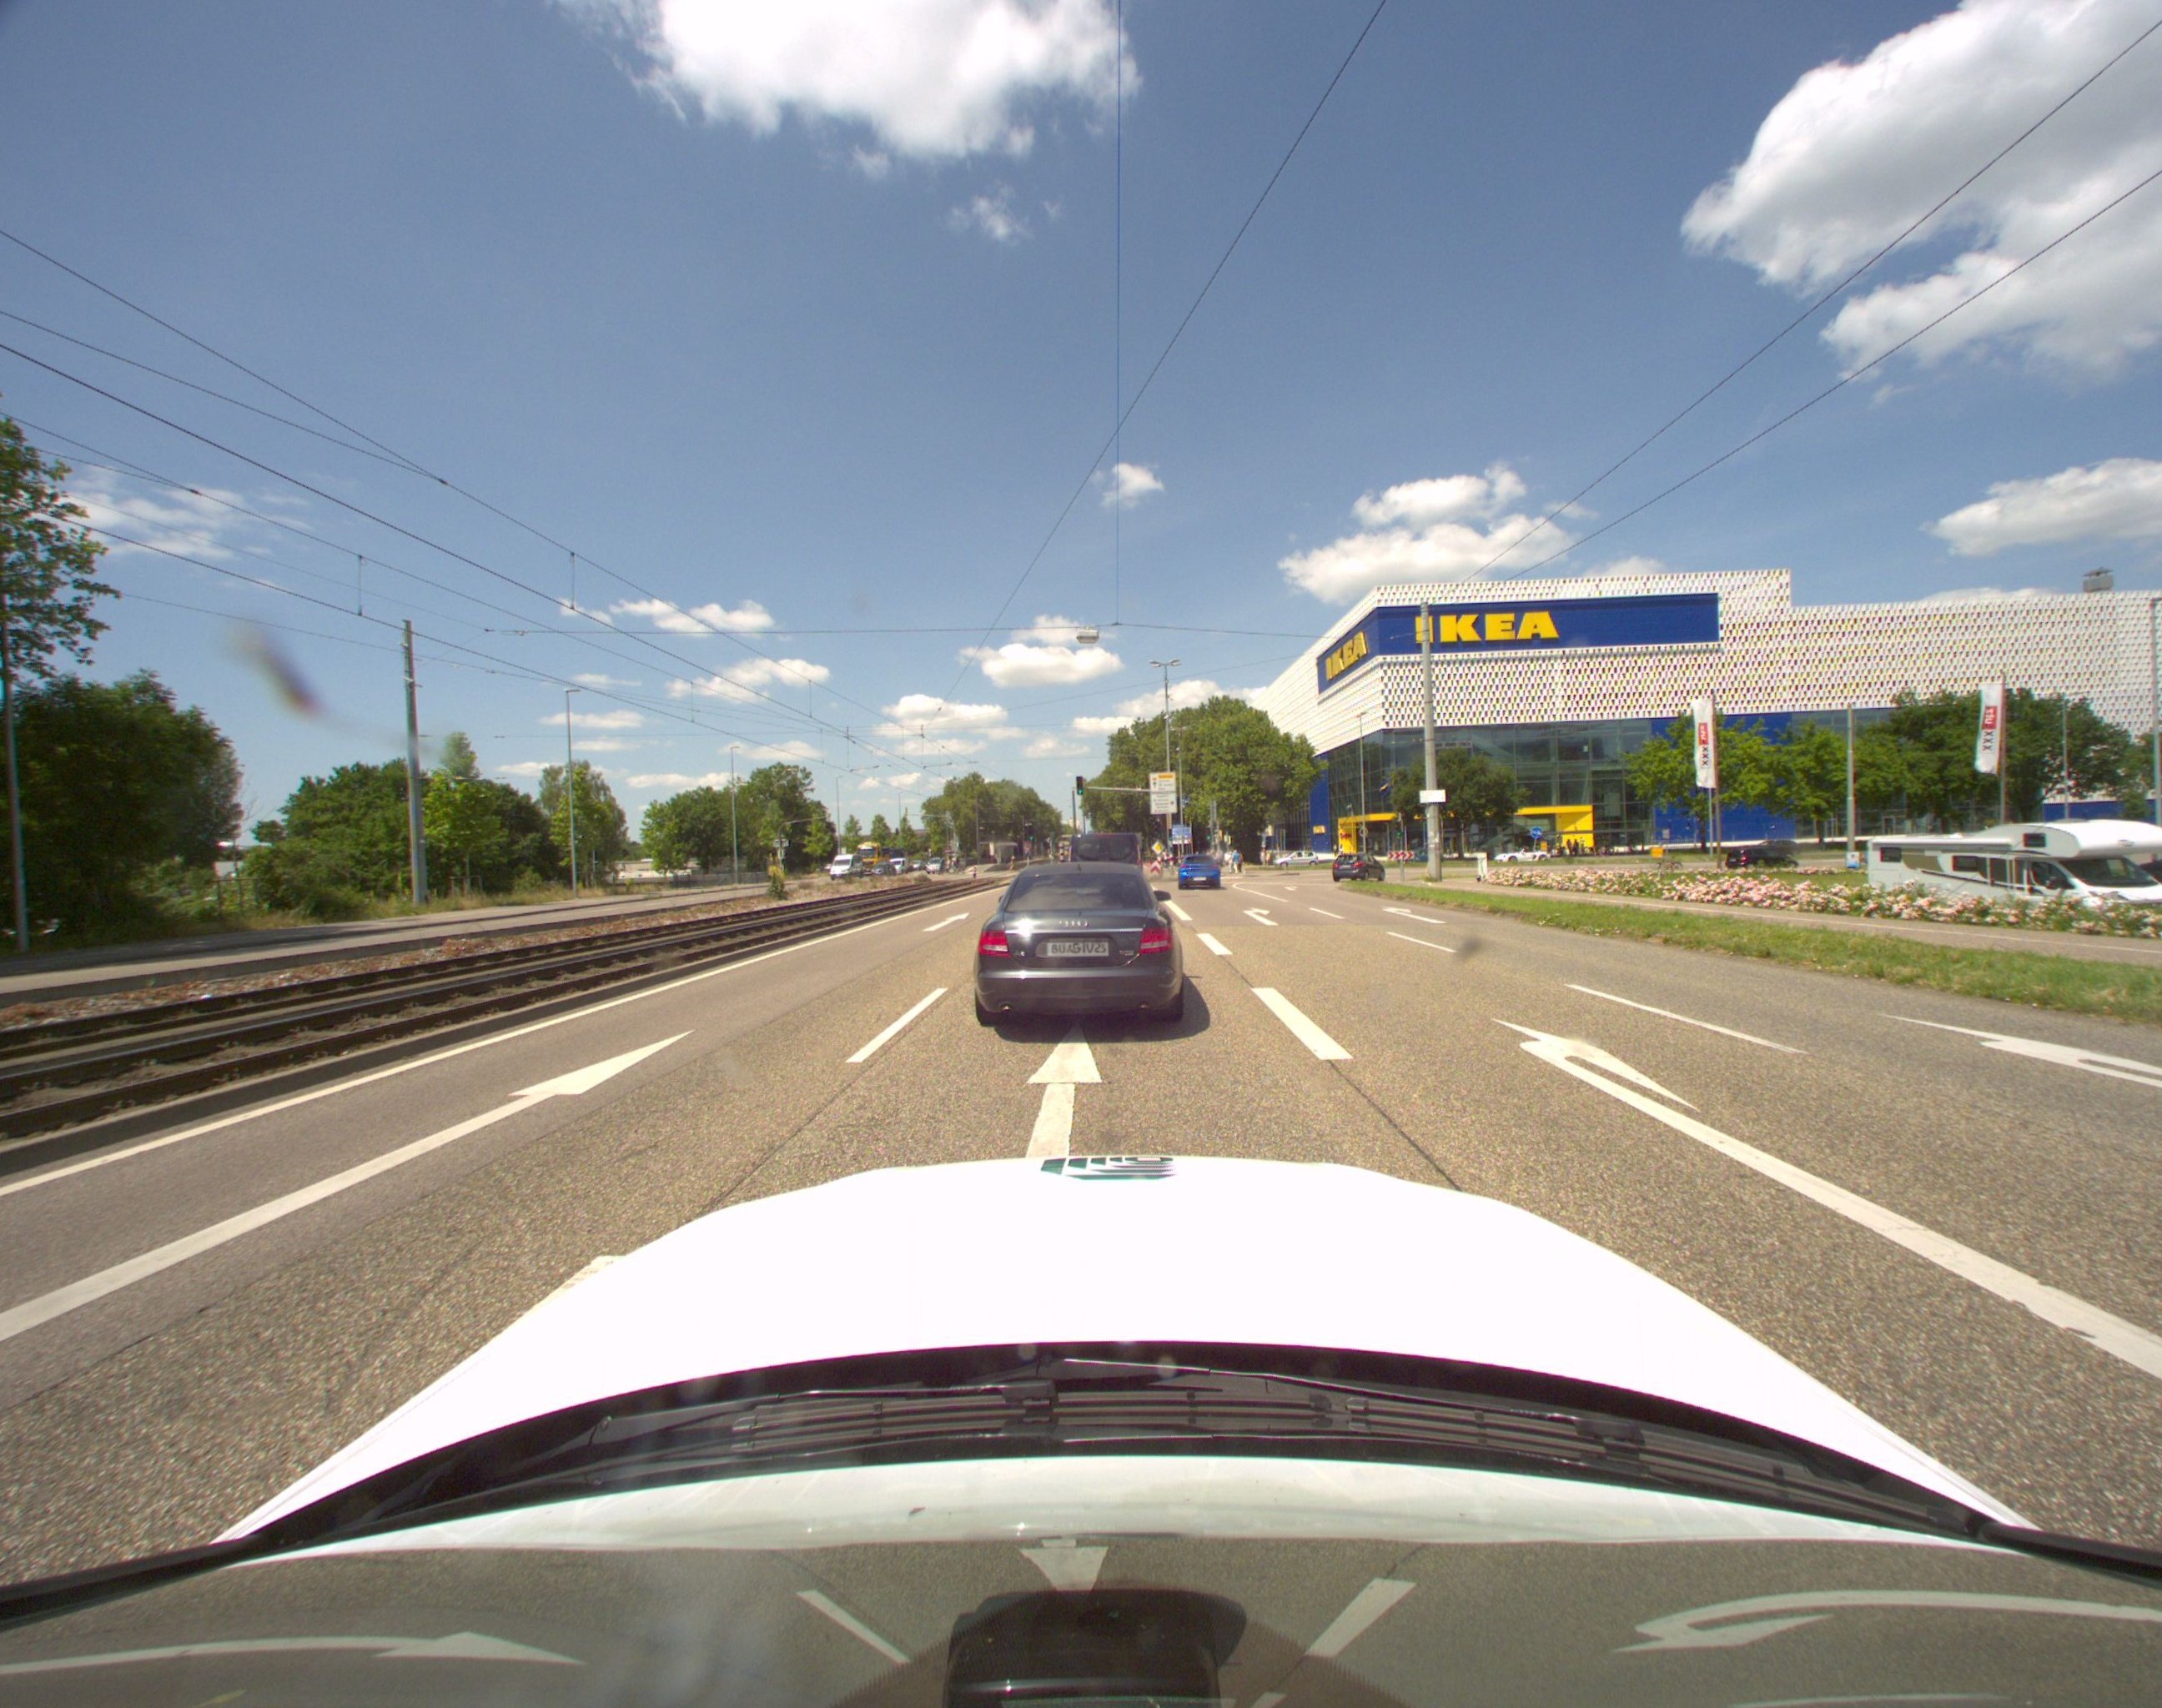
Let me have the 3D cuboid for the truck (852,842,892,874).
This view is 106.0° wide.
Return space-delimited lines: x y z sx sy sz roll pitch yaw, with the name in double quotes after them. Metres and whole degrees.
-24.219 0.460 94.694 2.757 3.569 6.442 -1 0 2 "truck"

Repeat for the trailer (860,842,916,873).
-23.981 0.435 102.407 2.757 3.518 15.884 -1 0 2 "trailer"

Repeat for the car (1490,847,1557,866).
36.503 0.205 67.284 4.475 1.486 2.003 0 0 5 "car"

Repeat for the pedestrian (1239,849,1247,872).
12.145 0.470 61.032 0.518 1.670 0.495 -1 0 5 "pedestrian"

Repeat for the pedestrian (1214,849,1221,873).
9.305 0.465 55.443 0.379 1.635 0.377 -1 0 5 "pedestrian"

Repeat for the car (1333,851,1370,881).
14.901 0.647 44.796 1.746 1.526 4.120 -1 0 20 "car"

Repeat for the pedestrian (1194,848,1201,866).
10.156 0.253 71.104 0.490 1.520 0.710 -1 0 19 "pedestrian"

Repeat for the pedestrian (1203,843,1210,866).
8.914 0.064 57.908 0.443 1.635 0.430 -1 0 5 "pedestrian"

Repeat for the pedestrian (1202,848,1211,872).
8.924 0.428 57.949 0.551 1.635 0.433 -1 0 4 "pedestrian"

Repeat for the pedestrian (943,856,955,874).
-13.103 1.075 80.666 0.816 1.720 0.779 -1 0 24 "pedestrian"

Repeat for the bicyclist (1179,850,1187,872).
8.018 0.532 64.117 0.526 1.676 1.088 -1 0 2 "bicyclist"

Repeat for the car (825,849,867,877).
-24.250 0.916 84.249 2.235 2.588 6.236 -4 1 1 "car"

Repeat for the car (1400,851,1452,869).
29.879 0.510 70.645 3.770 1.486 2.003 0 0 5 "car"

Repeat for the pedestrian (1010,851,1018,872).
-6.560 0.727 79.837 0.683 2.014 0.572 -1 -1 -3 "pedestrian"

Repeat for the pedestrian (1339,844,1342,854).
33.173 -0.652 104.122 0.287 1.342 0.266 -1 -1 1 "pedestrian"

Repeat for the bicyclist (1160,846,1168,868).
6.792 0.274 66.437 0.526 1.789 1.089 -1 0 2 "bicyclist"

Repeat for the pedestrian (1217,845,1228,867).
12.043 0.153 69.285 0.678 1.846 0.711 -1 0 27 "pedestrian"

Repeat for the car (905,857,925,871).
-23.177 1.361 113.949 1.811 1.883 4.001 -1 0 2 "car"

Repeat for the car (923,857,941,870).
-22.624 1.384 123.590 1.811 1.883 4.001 -1 0 2 "car"

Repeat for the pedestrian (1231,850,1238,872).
11.501 0.554 61.052 0.501 1.635 0.449 -1 0 4 "pedestrian"

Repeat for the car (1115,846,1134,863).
6.133 0.013 115.552 1.990 2.309 4.768 -1 0 -4 "car"

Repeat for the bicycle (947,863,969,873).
-11.596 1.309 76.919 2.055 0.925 0.751 -1 0 -8 "bicycle"

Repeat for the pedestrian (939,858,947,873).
-13.194 1.117 77.796 0.683 1.443 0.572 -1 0 -2 "pedestrian"

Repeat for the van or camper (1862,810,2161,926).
28.173 0.348 24.740 2.494 3.020 7.235 -1 0 6 "van or camper"

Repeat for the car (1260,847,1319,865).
17.351 0.187 67.969 4.475 1.486 2.003 0 0 5 "car"

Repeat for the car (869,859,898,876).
-20.708 1.411 85.461 1.815 1.670 4.463 0 0 2 "car"

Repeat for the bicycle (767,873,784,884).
-28.992 2.294 77.271 1.487 0.987 0.485 -1 0 -2 "bicycle"

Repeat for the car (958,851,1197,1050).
0.043 0.735 8.225 1.786 1.455 4.002 -2 0 2 "car"

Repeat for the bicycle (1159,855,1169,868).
6.848 0.608 67.217 0.685 0.993 2.753 -1 0 2 "bicycle"

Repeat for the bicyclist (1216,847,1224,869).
11.142 0.343 65.331 0.525 1.764 0.831 -1 -1 15 "bicyclist"

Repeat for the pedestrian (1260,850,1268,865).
19.124 0.382 85.232 0.698 1.544 0.681 -1 0 21 "pedestrian"

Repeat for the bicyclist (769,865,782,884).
-29.022 1.901 77.307 1.116 1.774 0.340 -1 0 -3 "bicyclist"

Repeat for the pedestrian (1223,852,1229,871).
10.073 0.525 56.726 0.371 1.304 0.365 -1 0 5 "pedestrian"

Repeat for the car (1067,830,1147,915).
0.665 0.447 21.019 1.830 1.950 4.001 -1 0 2 "car"

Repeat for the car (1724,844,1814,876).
45.610 0.406 54.067 4.164 2.014 2.001 -1 0 2 "car"

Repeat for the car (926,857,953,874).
-14.988 1.227 86.584 1.814 1.670 4.467 0 0 4 "car"

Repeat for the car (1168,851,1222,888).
4.731 0.624 34.299 1.830 1.454 4.002 0 0 2 "car"

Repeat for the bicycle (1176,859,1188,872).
7.952 0.874 64.046 0.685 1.006 2.753 -1 0 2 "bicycle"

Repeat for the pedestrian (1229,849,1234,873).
10.527 0.501 56.958 0.319 1.635 0.377 -1 0 5 "pedestrian"

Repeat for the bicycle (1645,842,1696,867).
36.978 0.034 51.087 2.410 1.481 0.990 -1 0 6 "bicycle"

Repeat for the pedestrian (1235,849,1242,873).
10.997 0.492 56.927 0.396 1.635 0.371 -1 0 4 "pedestrian"

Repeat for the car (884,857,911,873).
-20.794 1.242 92.338 1.814 1.670 4.465 0 0 3 "car"
